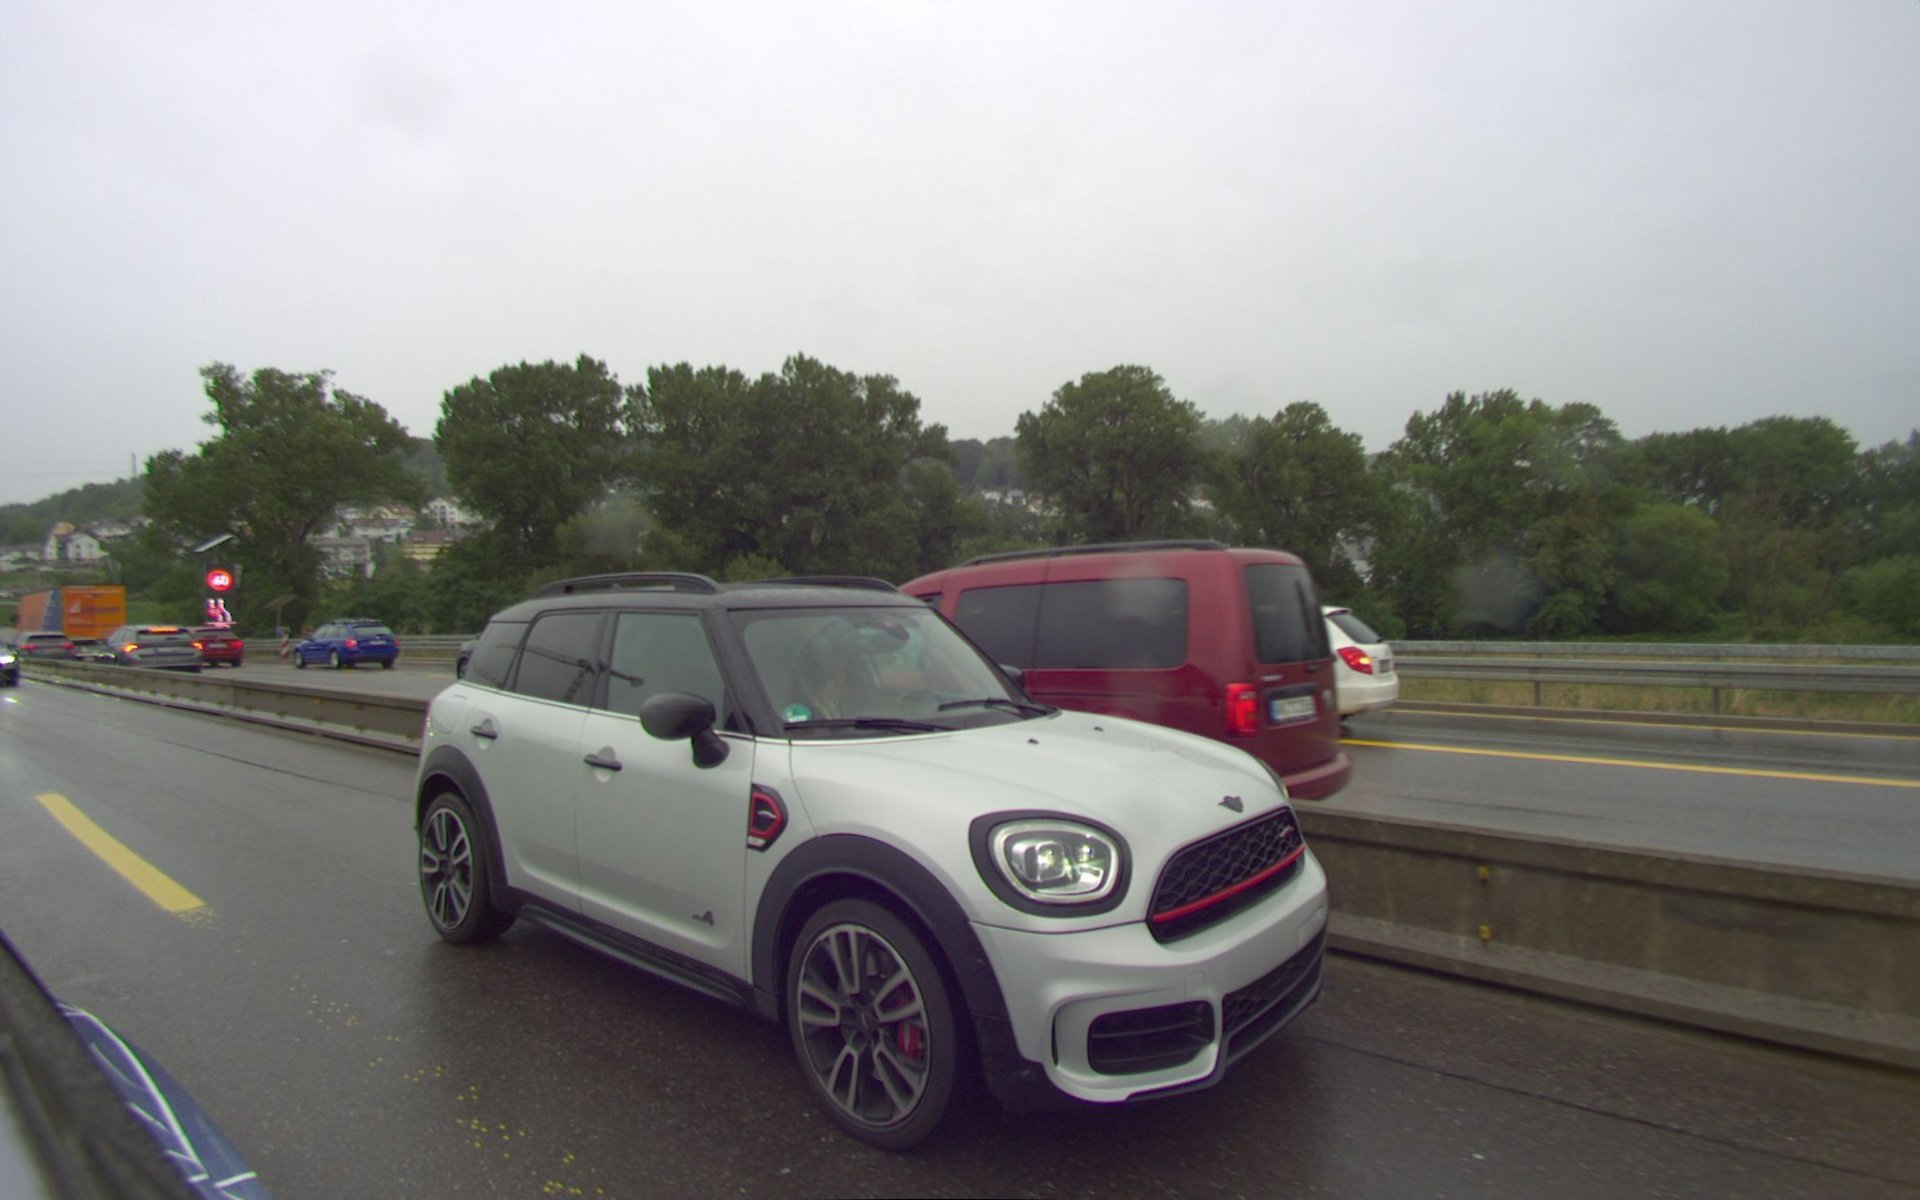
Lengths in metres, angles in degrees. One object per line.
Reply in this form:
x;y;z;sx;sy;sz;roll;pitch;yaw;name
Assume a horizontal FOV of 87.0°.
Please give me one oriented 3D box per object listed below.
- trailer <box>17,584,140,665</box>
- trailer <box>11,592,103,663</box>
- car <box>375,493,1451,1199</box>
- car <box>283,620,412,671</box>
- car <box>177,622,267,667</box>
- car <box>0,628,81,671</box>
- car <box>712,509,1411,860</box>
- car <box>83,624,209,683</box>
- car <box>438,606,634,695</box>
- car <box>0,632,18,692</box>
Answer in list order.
-48.329;1.418;55.254;13.691;3.938;3.243;-3;-1;41;trailer
-52.989;1.616;59.354;6.348;3.948;3.236;-3;-1;41;trailer
-0.587;0.643;4.112;4.306;1.612;1.797;-2;-1;41;car
-20.195;1.501;33.297;4.737;1.522;1.975;-2;-1;37;car
-27.446;1.609;37.578;4.304;1.522;1.799;-1;0;41;car
-36.645;1.918;40.147;4.742;1.522;1.953;-1;0;40;car
0.444;0.532;7.338;4.839;1.762;1.827;-3;-3;39;car
-21.765;1.423;27.008;4.409;1.460;1.887;-3;-4;42;car
-8.117;0.952;19.231;3.996;1.508;1.802;-3;-2;40;car
-25.906;1.590;26.084;4.481;1.449;1.926;-1;0;41;car
